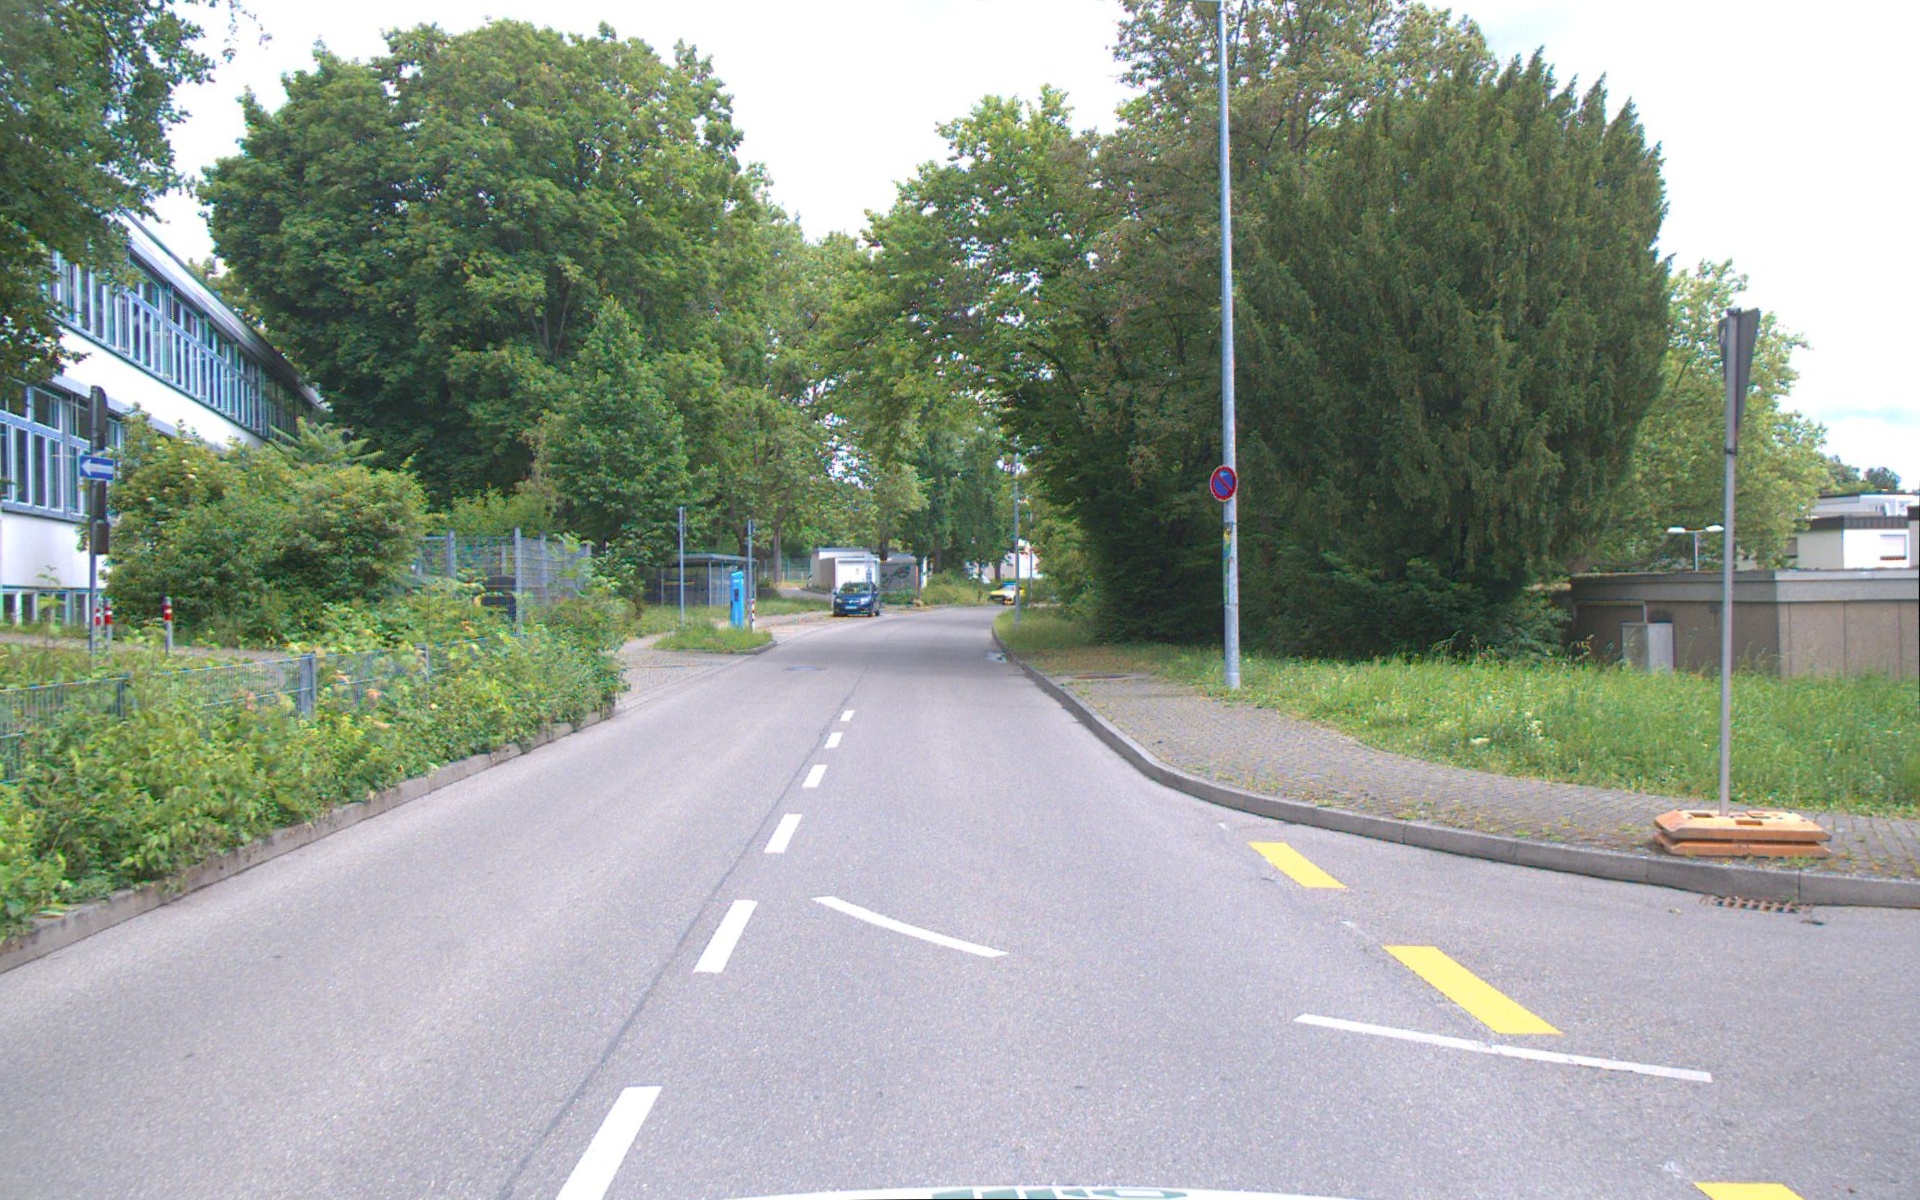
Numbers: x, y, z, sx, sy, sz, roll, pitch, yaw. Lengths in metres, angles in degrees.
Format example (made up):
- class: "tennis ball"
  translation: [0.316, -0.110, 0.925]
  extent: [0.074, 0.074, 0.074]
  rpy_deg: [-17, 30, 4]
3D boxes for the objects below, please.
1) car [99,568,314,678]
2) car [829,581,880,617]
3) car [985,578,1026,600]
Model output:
- class: "car"
  translation: [-14.979, 0.405, 33.134]
  extent: [1.951, 2.049, 4.004]
  rpy_deg: [-1, 1, 10]
- class: "car"
  translation: [-4.616, -0.058, 73.038]
  extent: [1.644, 1.538, 4.434]
  rpy_deg: [0, 0, 4]
- class: "car"
  translation: [3.074, -0.746, 110.616]
  extent: [1.664, 1.427, 4.276]
  rpy_deg: [1, 0, 16]
